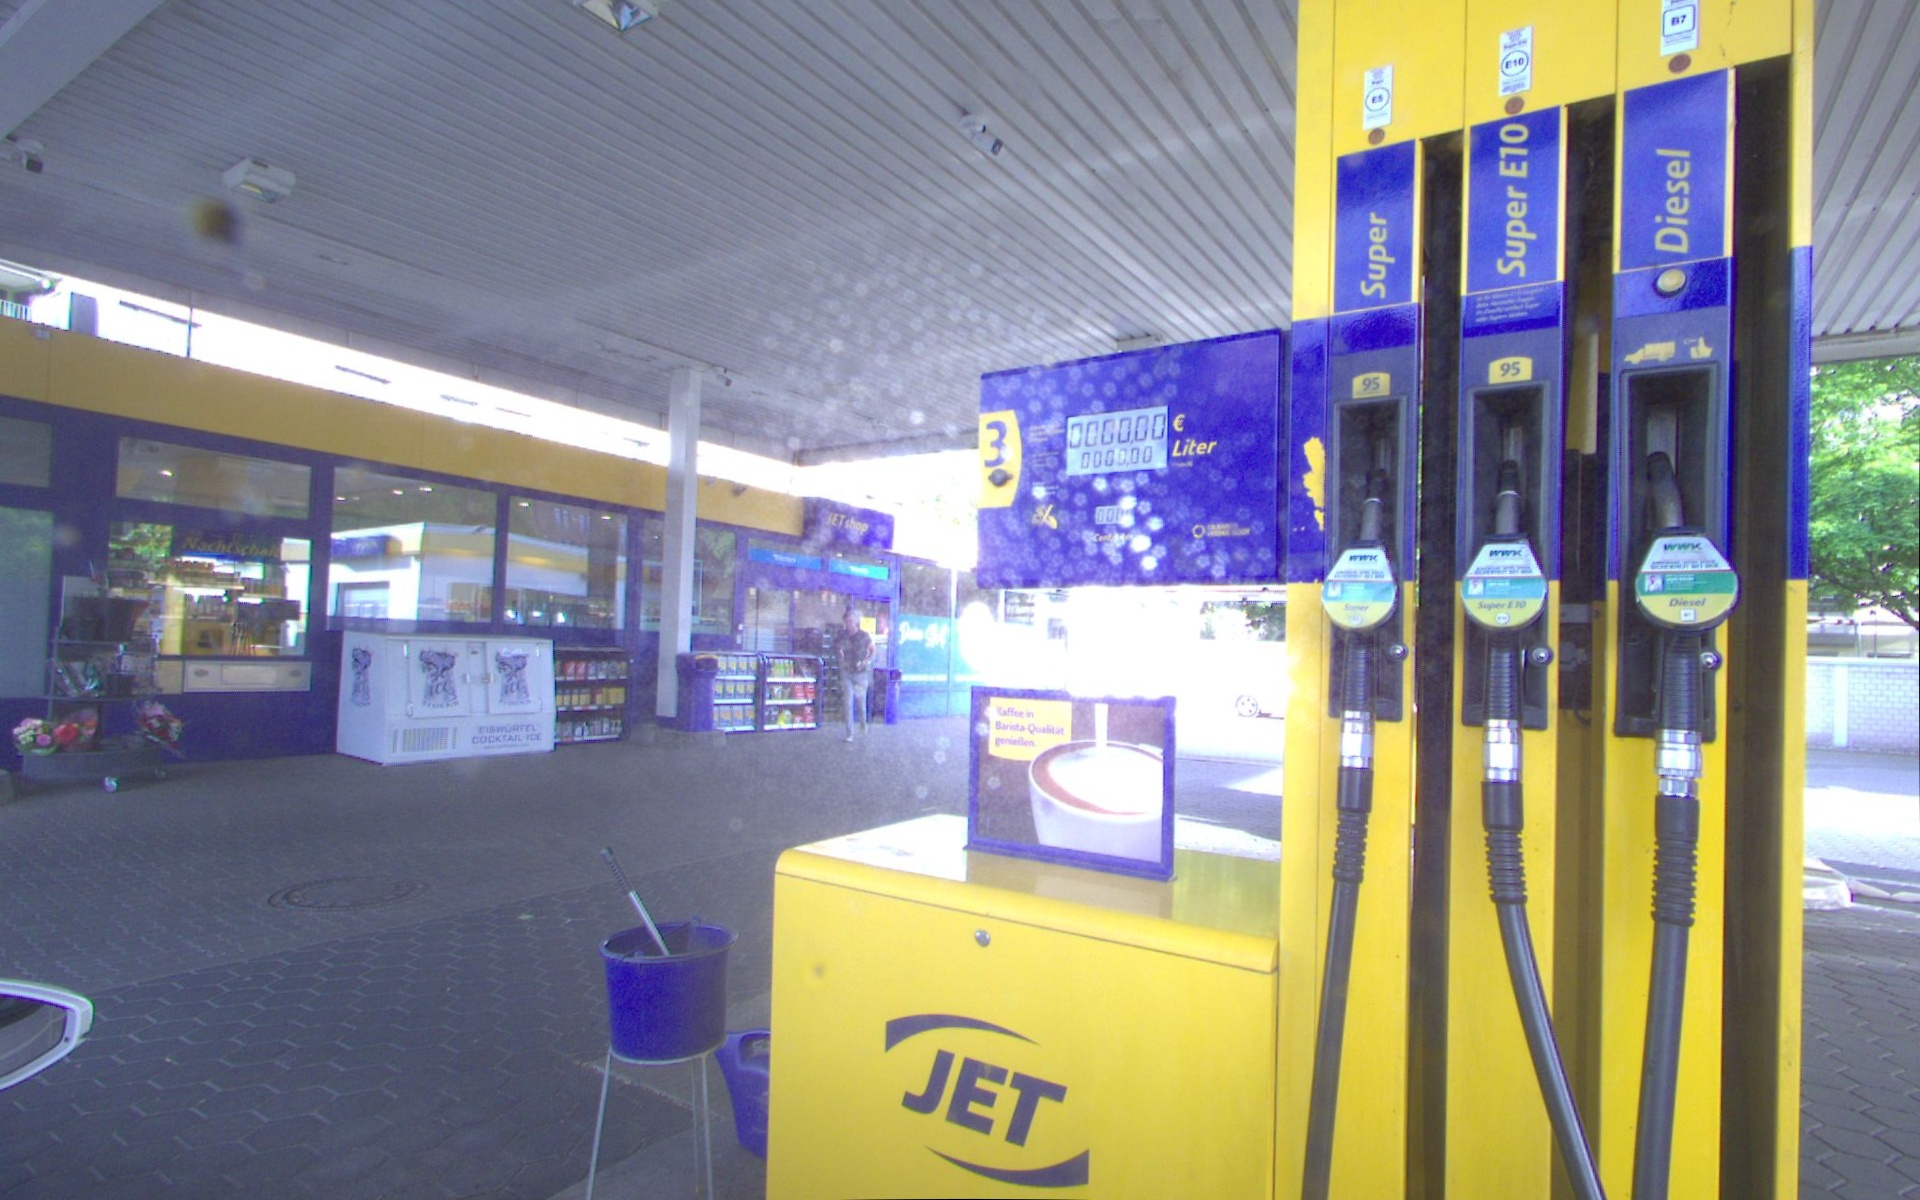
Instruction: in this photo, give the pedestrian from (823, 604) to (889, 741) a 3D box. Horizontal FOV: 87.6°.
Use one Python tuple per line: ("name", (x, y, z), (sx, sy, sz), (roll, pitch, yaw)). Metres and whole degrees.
("pedestrian", (-1.481, 1.007, 14.116), (0.788, 1.838, 0.984), (2, -2, -10))
